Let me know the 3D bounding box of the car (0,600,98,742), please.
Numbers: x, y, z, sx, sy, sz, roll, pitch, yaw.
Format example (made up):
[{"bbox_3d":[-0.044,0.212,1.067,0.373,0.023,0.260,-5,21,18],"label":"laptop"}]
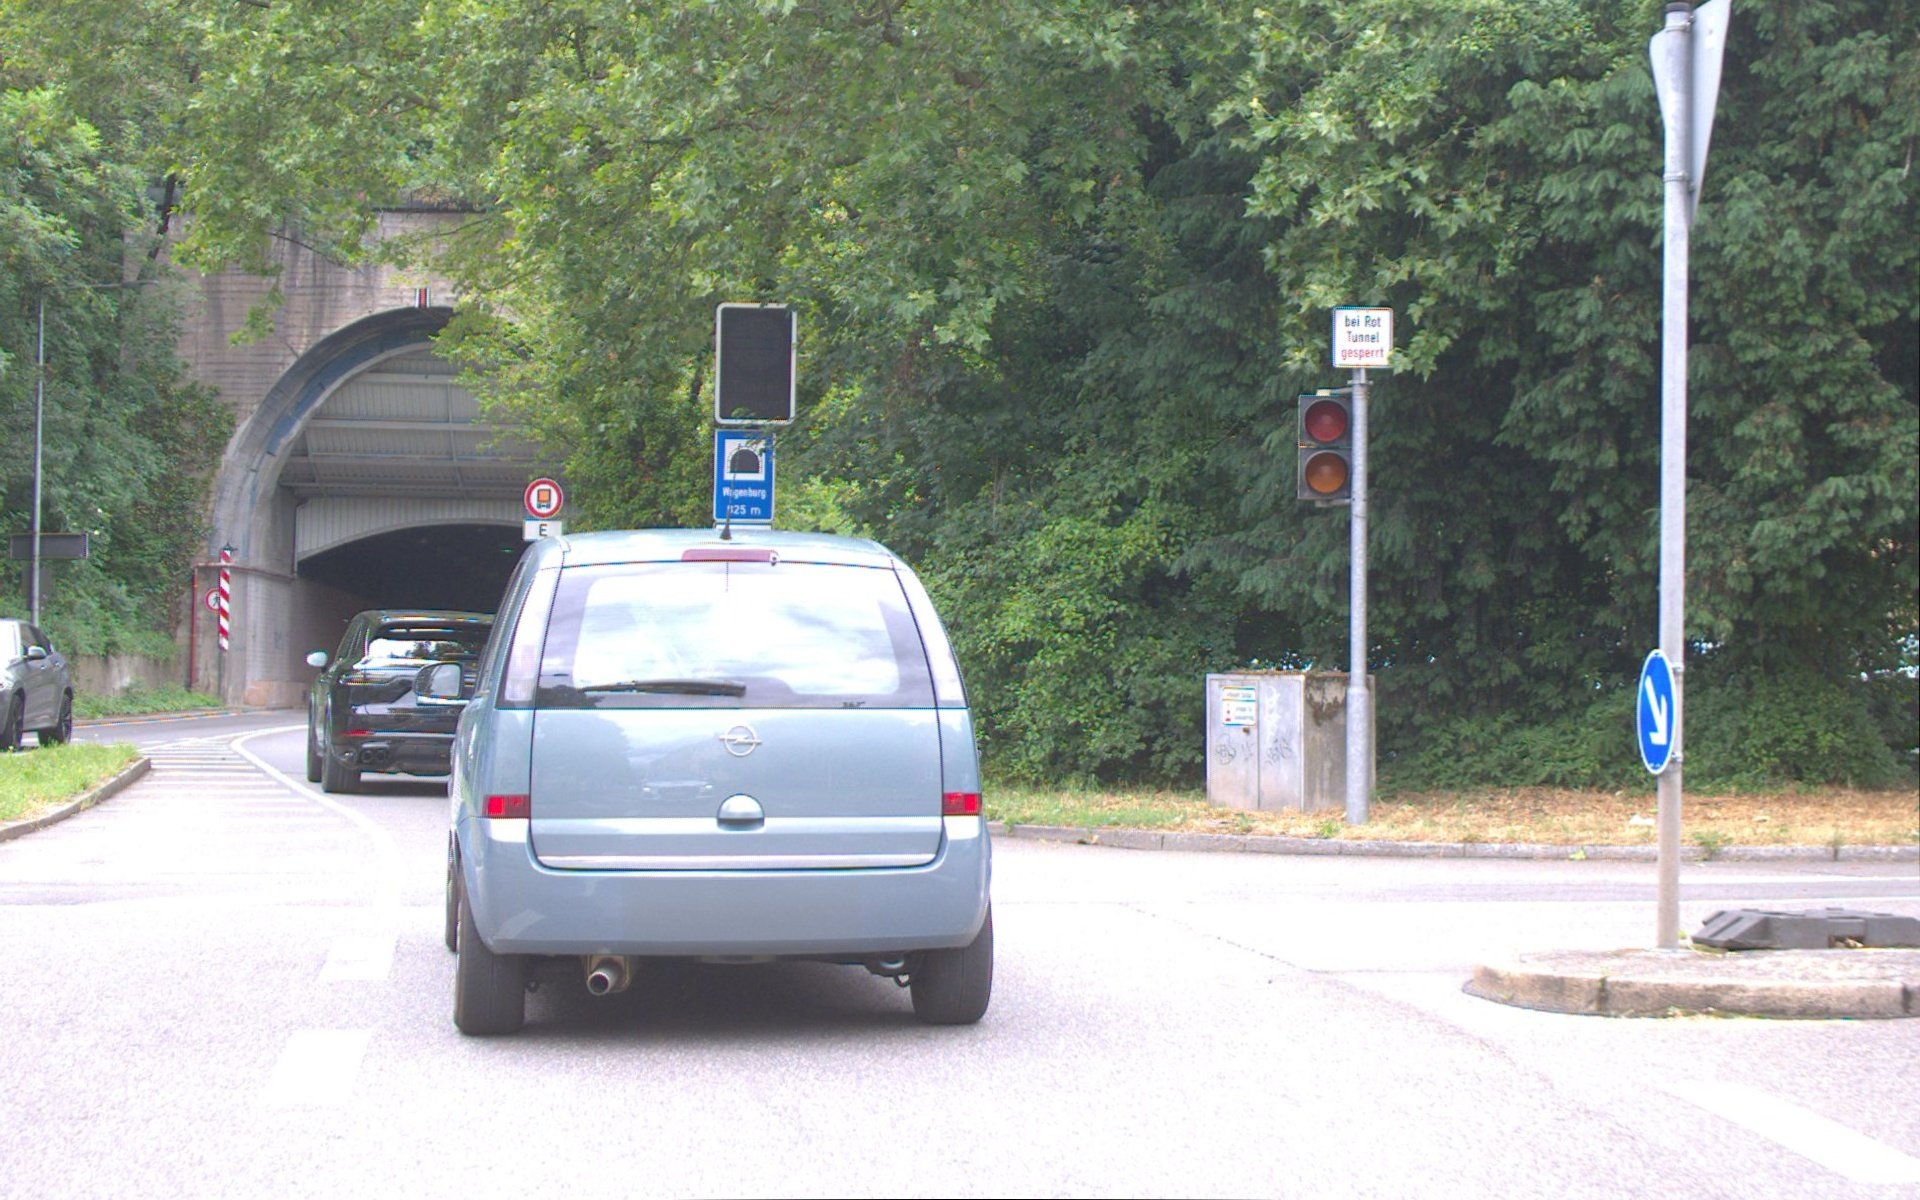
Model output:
[{"bbox_3d":[-12.458,0.878,43.689,1.869,1.693,4.936,1,-1,-1],"label":"car"}]

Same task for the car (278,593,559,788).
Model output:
[{"bbox_3d":[-5.047,0.833,31.624,1.993,1.648,4.001,2,-2,-17],"label":"car"}]

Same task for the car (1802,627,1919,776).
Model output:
[{"bbox_3d":[11.163,1.073,36.589,1.993,1.573,4.906,0,-1,-18],"label":"car"}]

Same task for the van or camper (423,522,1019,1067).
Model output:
[{"bbox_3d":[-0.974,0.544,11.920,1.735,1.572,3.647,-1,1,-9],"label":"van or camper"}]
